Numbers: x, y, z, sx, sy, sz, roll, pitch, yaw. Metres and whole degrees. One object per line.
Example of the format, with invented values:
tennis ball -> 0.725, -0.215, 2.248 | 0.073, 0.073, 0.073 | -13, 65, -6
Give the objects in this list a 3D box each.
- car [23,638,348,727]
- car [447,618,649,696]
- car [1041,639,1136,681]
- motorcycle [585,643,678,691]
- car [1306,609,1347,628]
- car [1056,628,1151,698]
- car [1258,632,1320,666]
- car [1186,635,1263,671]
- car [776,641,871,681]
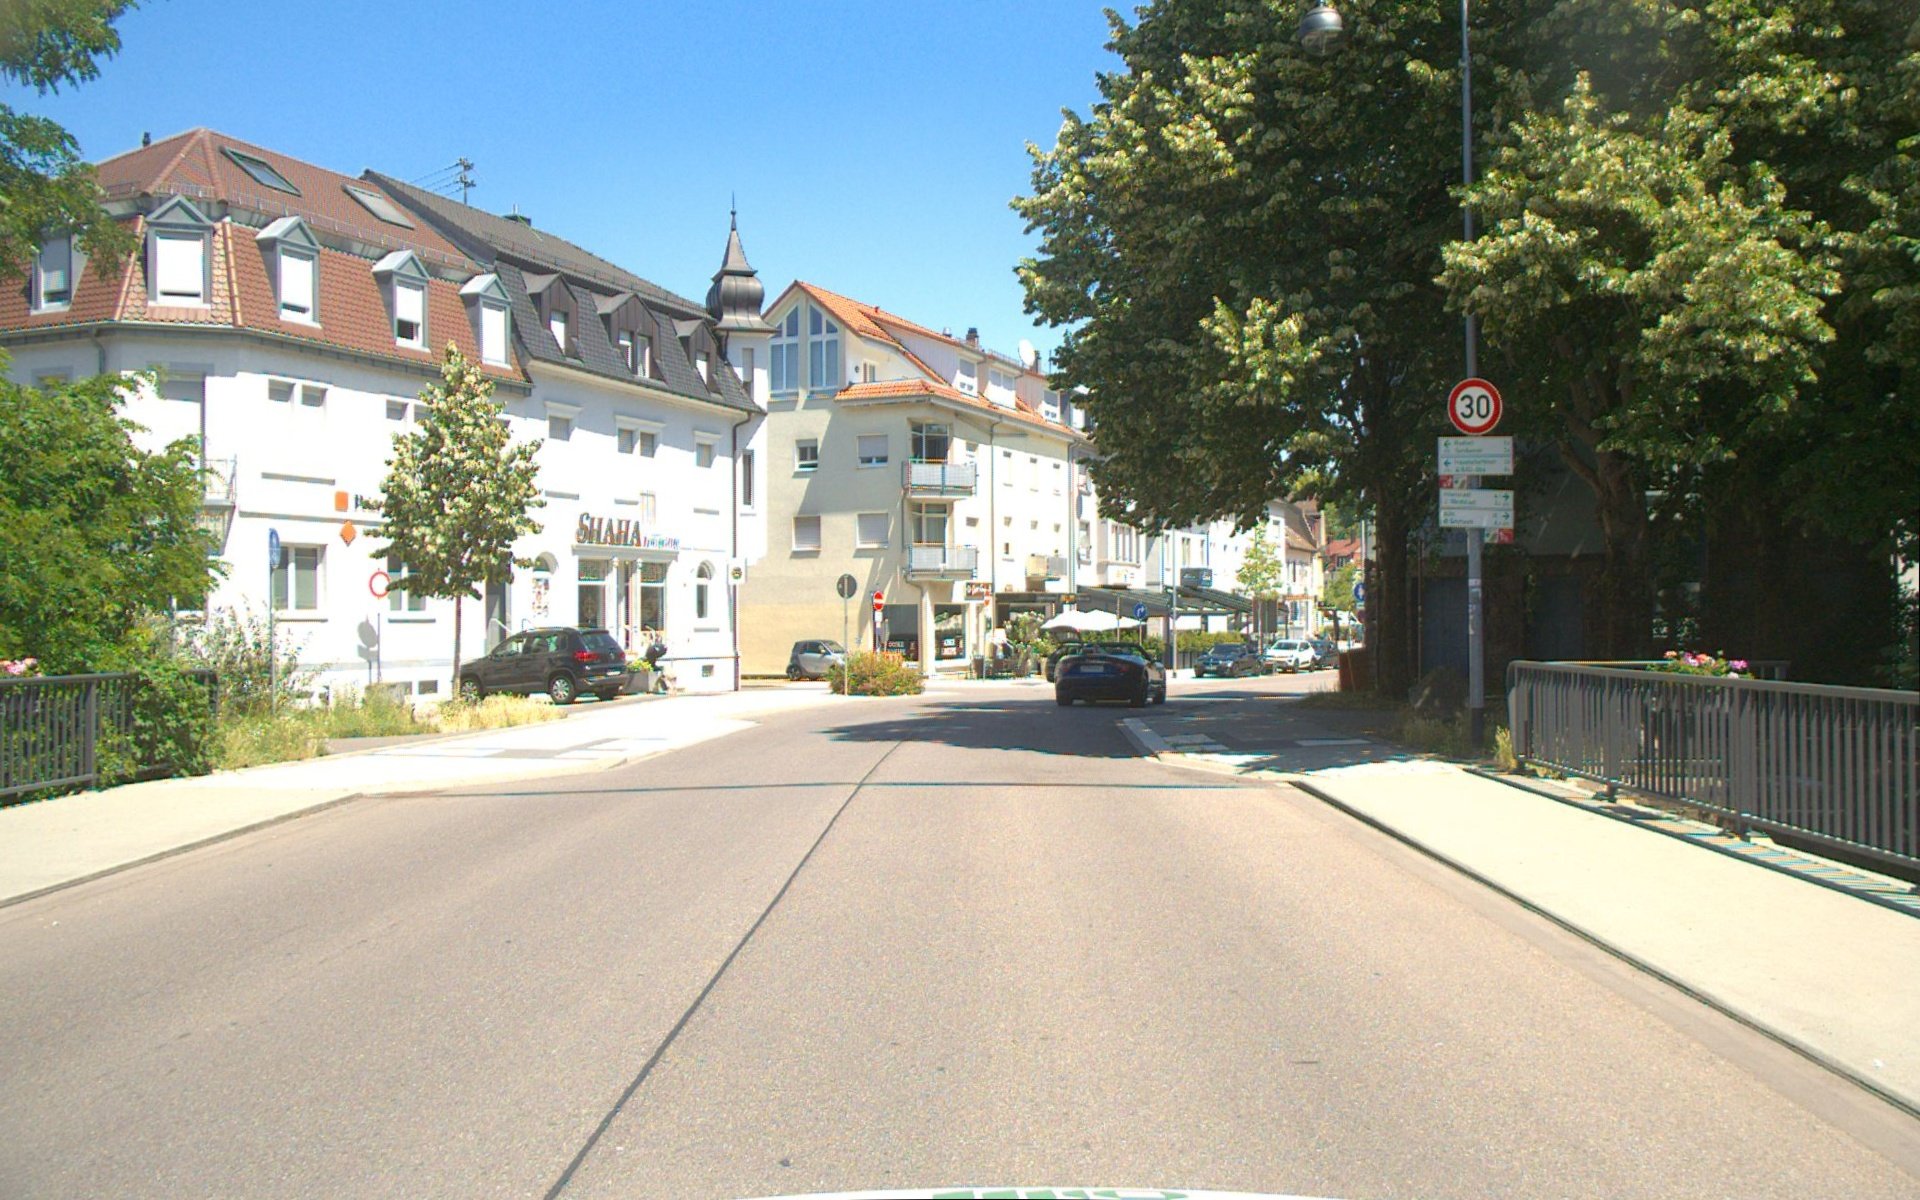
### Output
car -> -12.985, 1.360, 28.031 | 4.609, 1.380, 1.994 | 0, -2, -11
car -> -9.348, 1.290, 37.563 | 4.094, 1.691, 1.970 | -1, -2, 22
car -> 4.862, 2.251, 62.137 | 1.684, 1.486, 4.114 | 1, -1, 36
motorcycle -> -8.677, 1.764, 43.666 | 2.346, 1.239, 0.833 | -1, -3, 24
car -> 42.101, 2.100, 189.895 | 4.192, 2.049, 1.989 | 1, -3, -18
car -> 3.141, 1.301, 35.529 | 1.831, 1.366, 4.599 | 0, -1, 7
car -> 15.440, 2.276, 77.529 | 1.614, 1.505, 3.932 | 1, 0, 31
car -> 11.382, 2.243, 70.974 | 1.799, 1.454, 4.775 | 0, 0, 28
car -> -5.236, 2.343, 63.509 | 3.195, 1.484, 1.692 | -1, -1, 22
